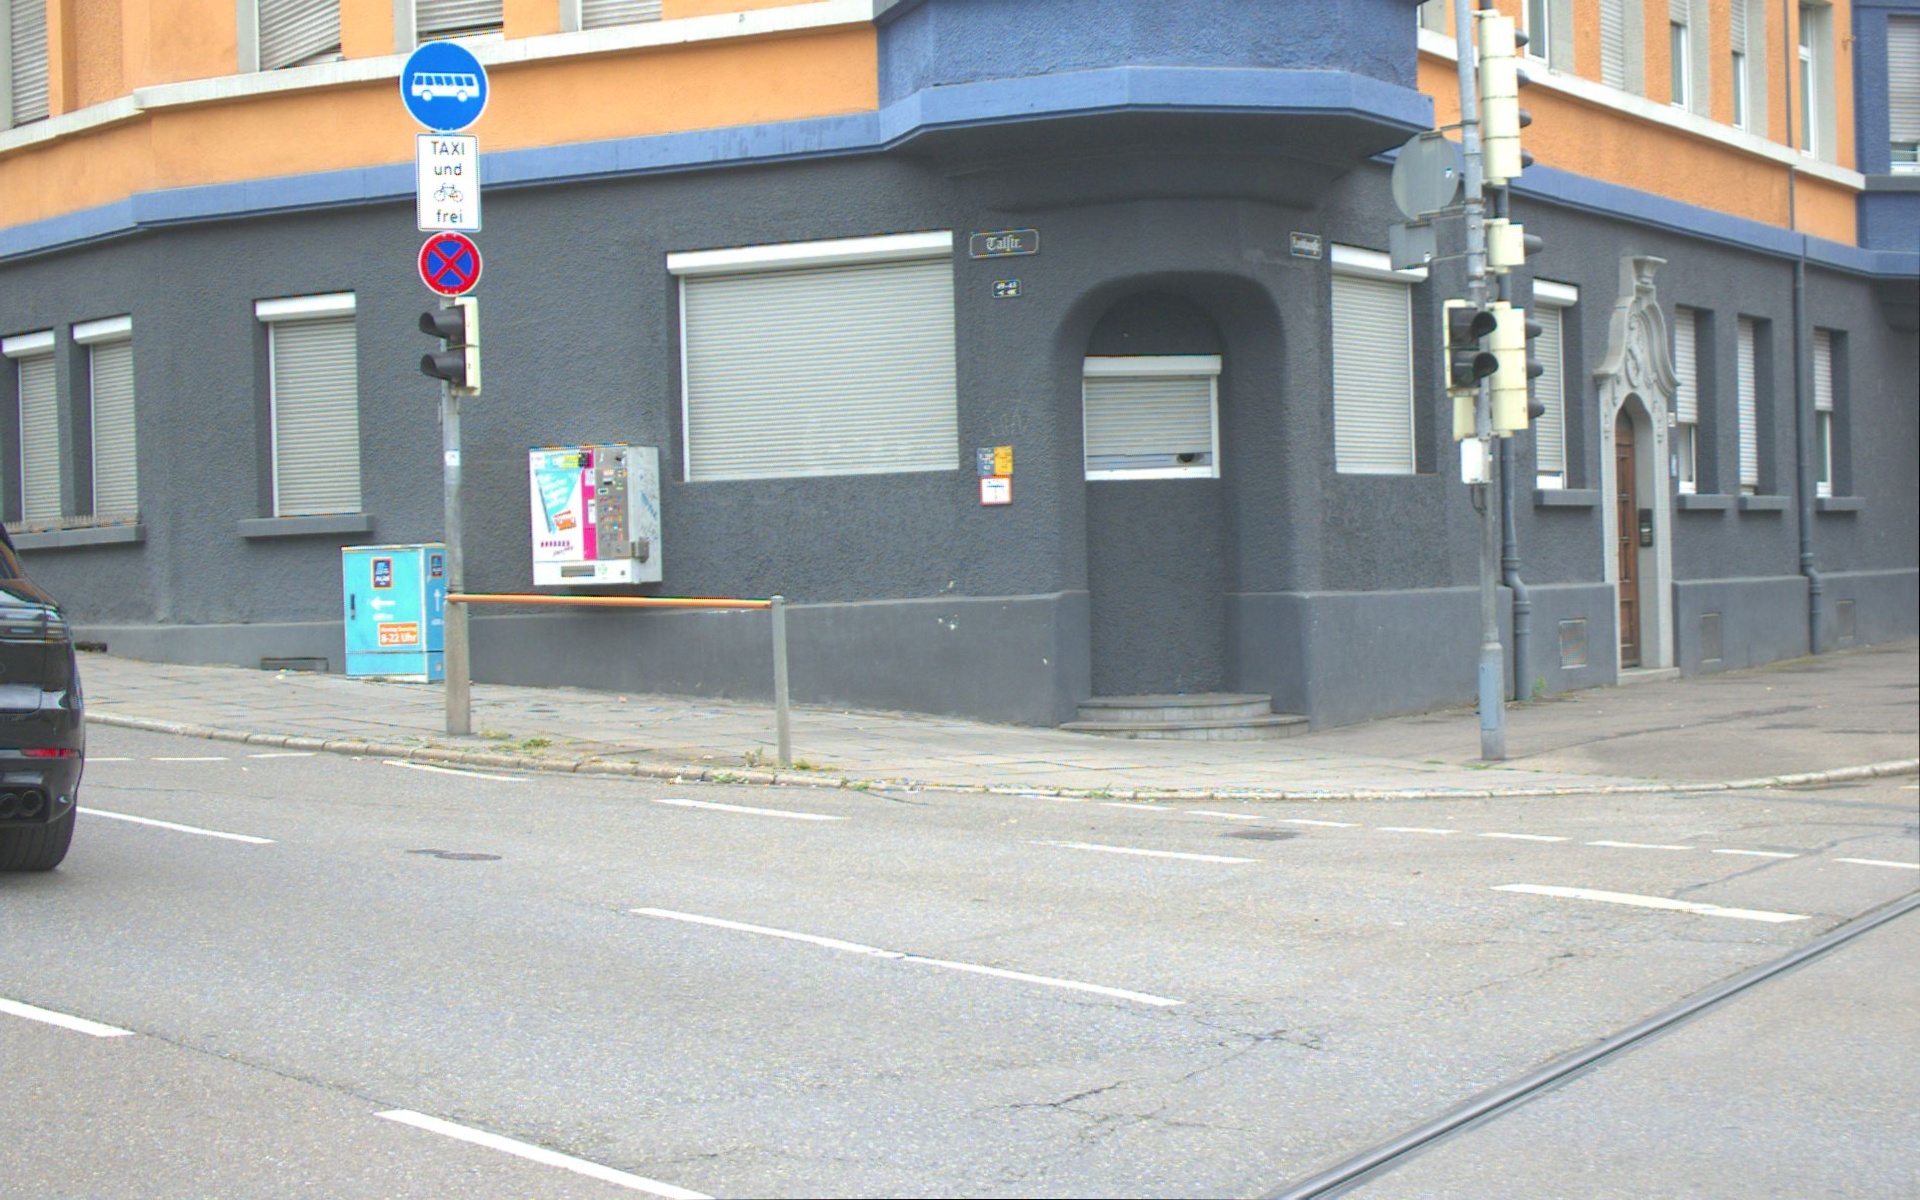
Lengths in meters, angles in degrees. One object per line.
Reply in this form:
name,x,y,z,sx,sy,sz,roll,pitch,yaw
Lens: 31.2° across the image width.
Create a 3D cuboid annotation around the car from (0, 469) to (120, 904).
car,-5.169,0.261,14.572,2.024,1.636,4.356,1,1,-29
